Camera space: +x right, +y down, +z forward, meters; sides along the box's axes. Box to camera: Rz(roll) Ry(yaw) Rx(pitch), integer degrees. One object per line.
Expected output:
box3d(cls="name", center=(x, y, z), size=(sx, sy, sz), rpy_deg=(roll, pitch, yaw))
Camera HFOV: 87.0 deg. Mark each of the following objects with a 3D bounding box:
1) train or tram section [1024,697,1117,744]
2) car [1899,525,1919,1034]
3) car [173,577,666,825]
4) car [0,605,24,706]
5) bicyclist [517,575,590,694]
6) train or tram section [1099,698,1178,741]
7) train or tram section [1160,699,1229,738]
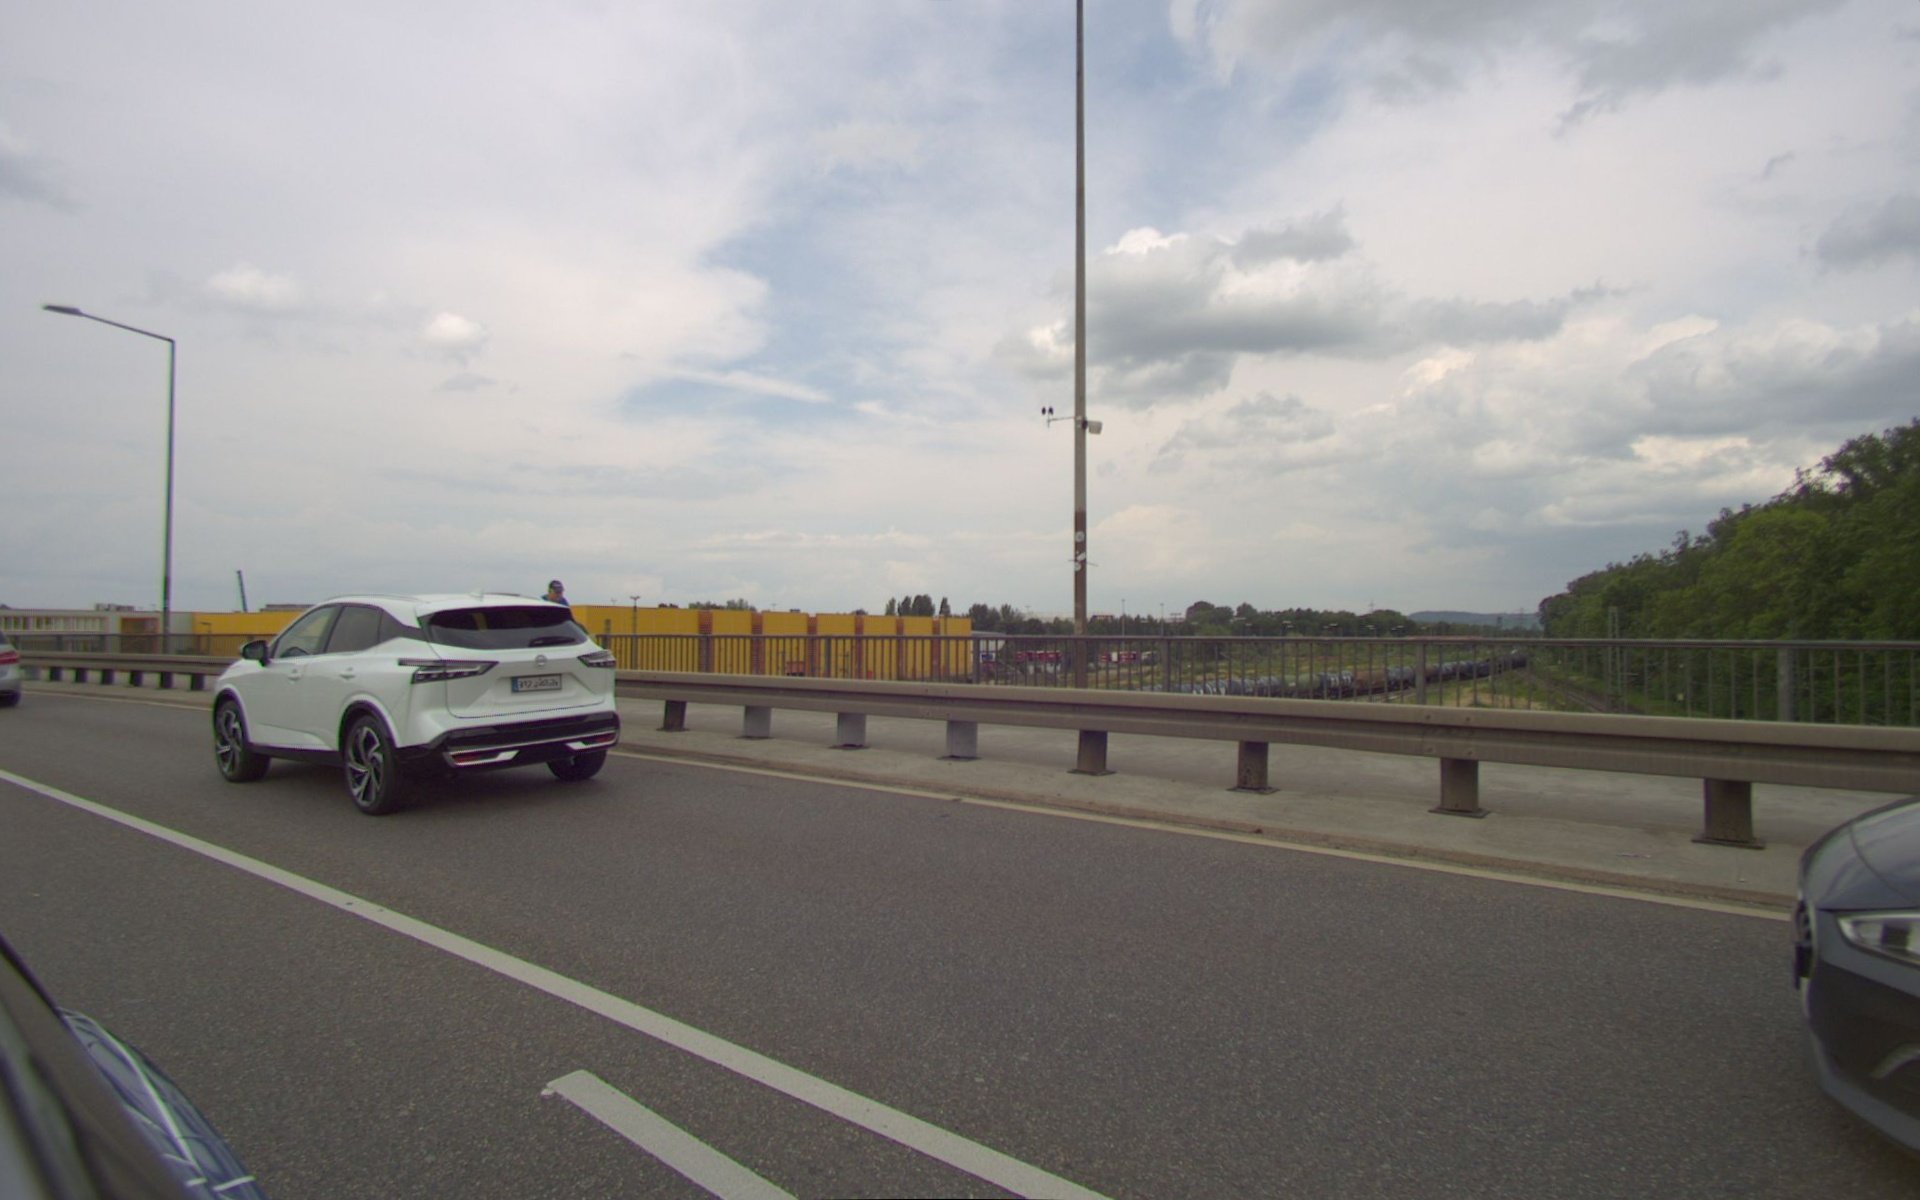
box3d(cls="train or tram section", center=(10.782, 11.460, 96.799), size=(2.098, 4.127, 12.590), rpy_deg=(-1, -5, 40))
box3d(cls="car", center=(4.245, 0.515, 1.278), size=(4.380, 1.488, 1.790), rpy_deg=(-1, 0, 41))
box3d(cls="car", center=(-4.836, 0.676, 8.761), size=(4.765, 1.605, 1.923), rpy_deg=(-1, 0, 37))
box3d(cls="car", center=(-17.780, 0.934, 17.094), size=(4.383, 1.632, 1.804), rpy_deg=(-1, 0, 32))
box3d(cls="bicyclist", center=(-5.524, 0.454, 13.752), size=(0.755, 1.551, 0.605), rpy_deg=(-1, 0, 35))
box3d(cls="train or tram section", center=(18.931, 12.460, 106.344), size=(2.081, 4.127, 12.590), rpy_deg=(-1, -5, 40))
box3d(cls="train or tram section", center=(27.032, 13.456, 115.936), size=(2.081, 4.127, 12.590), rpy_deg=(-1, -5, 40))
